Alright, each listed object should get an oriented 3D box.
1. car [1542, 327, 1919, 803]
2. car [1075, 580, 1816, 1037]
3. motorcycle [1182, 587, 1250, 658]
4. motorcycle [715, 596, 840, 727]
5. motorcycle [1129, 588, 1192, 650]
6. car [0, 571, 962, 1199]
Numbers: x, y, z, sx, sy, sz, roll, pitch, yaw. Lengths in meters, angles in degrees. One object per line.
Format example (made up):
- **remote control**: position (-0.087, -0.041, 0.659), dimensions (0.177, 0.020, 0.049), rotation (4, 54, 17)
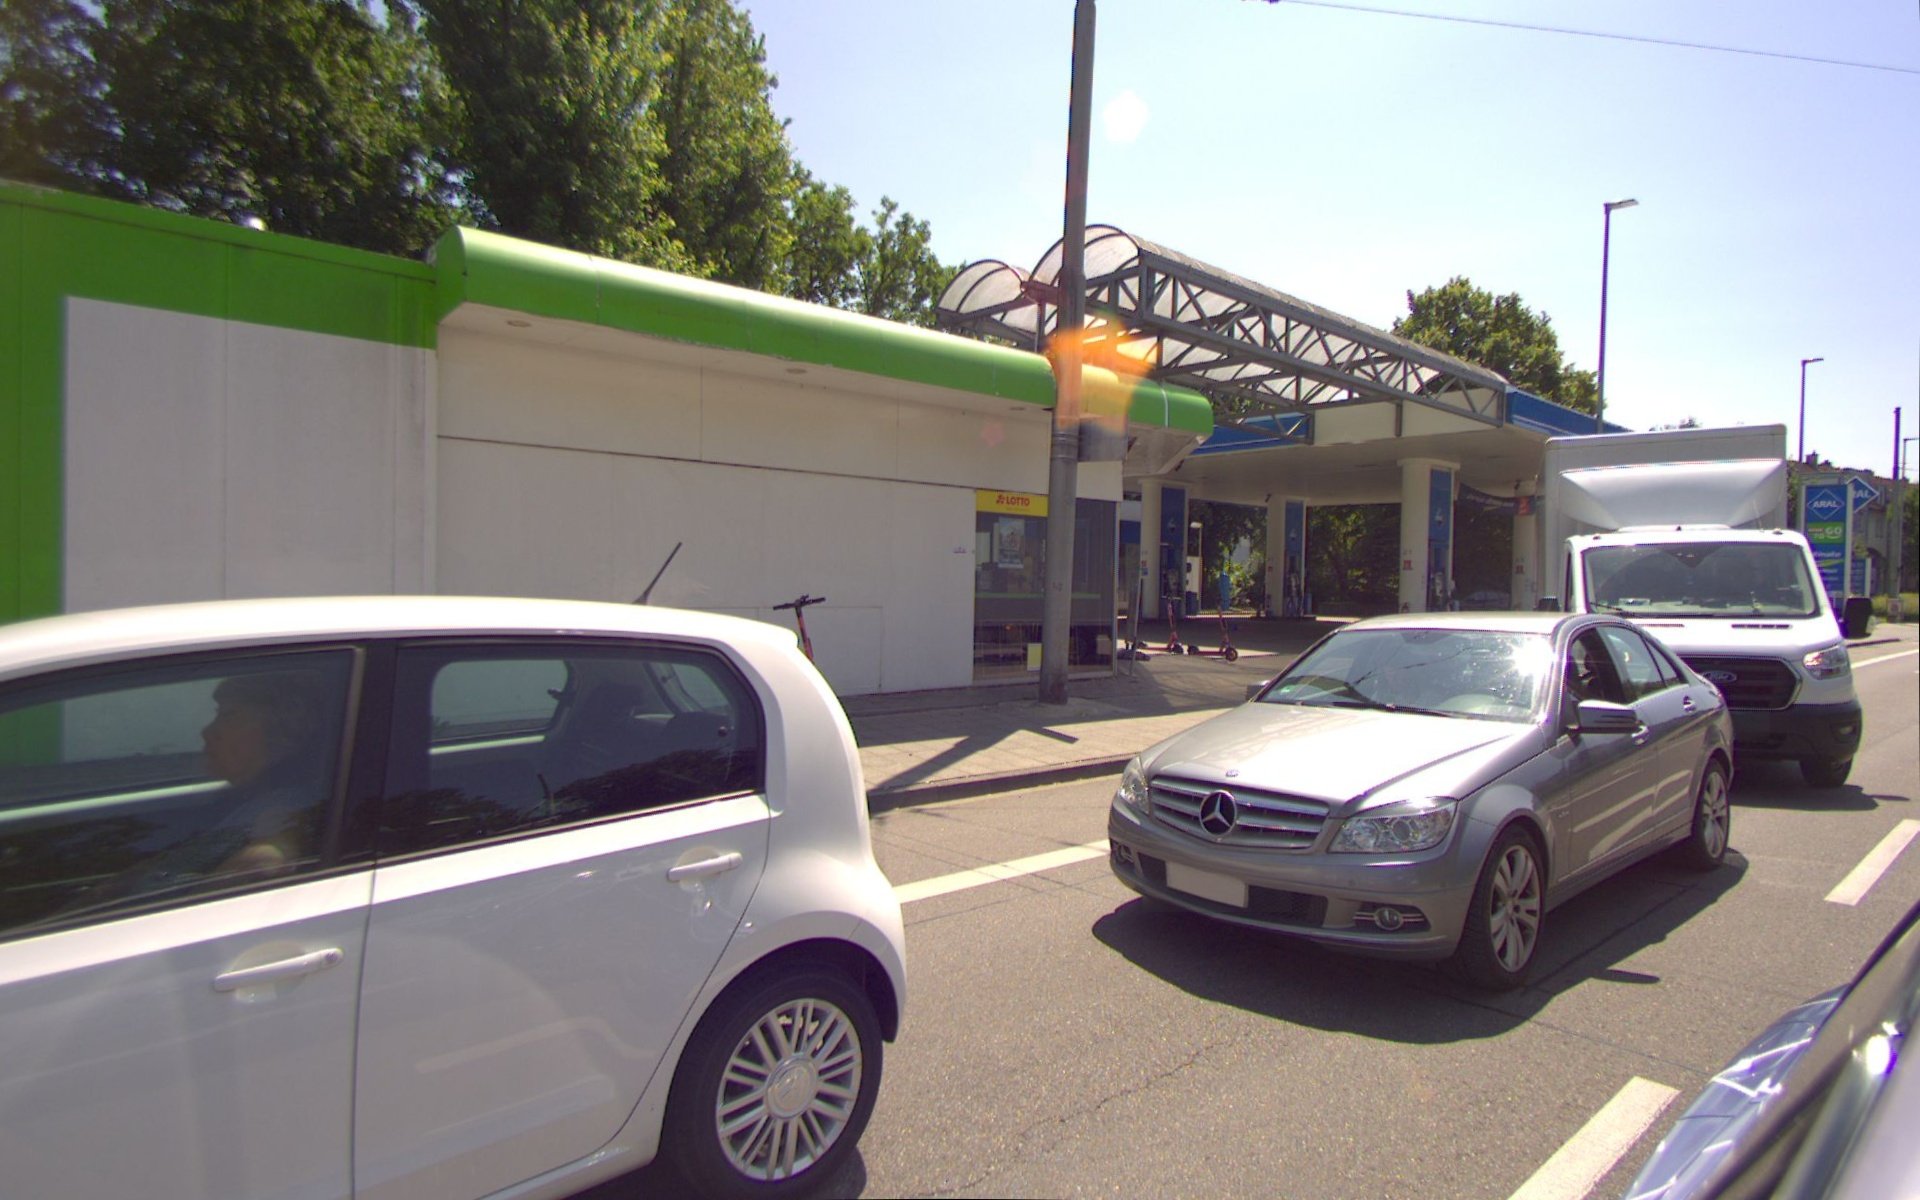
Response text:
- **car**: position (7.937, -0.272, 11.460), dimensions (2.211, 3.377, 8.546), rotation (-1, 0, 29)
- **car**: position (3.071, 0.700, 5.652), dimensions (5.206, 1.492, 1.716), rotation (0, -1, -40)
- **motorcycle**: position (4.780, 0.410, 18.943), dimensions (0.357, 1.225, 1.156), rotation (2, 2, -41)
- **motorcycle**: position (-1.666, 0.543, 9.314), dimensions (1.098, 1.118, 0.253), rotation (-1, 7, -40)
- **motorcycle**: position (3.924, 0.368, 19.888), dimensions (0.389, 1.127, 1.156), rotation (2, 2, -41)
- **car**: position (-1.796, 0.687, 2.304), dimensions (3.374, 1.466, 1.612), rotation (1, 0, -40)
